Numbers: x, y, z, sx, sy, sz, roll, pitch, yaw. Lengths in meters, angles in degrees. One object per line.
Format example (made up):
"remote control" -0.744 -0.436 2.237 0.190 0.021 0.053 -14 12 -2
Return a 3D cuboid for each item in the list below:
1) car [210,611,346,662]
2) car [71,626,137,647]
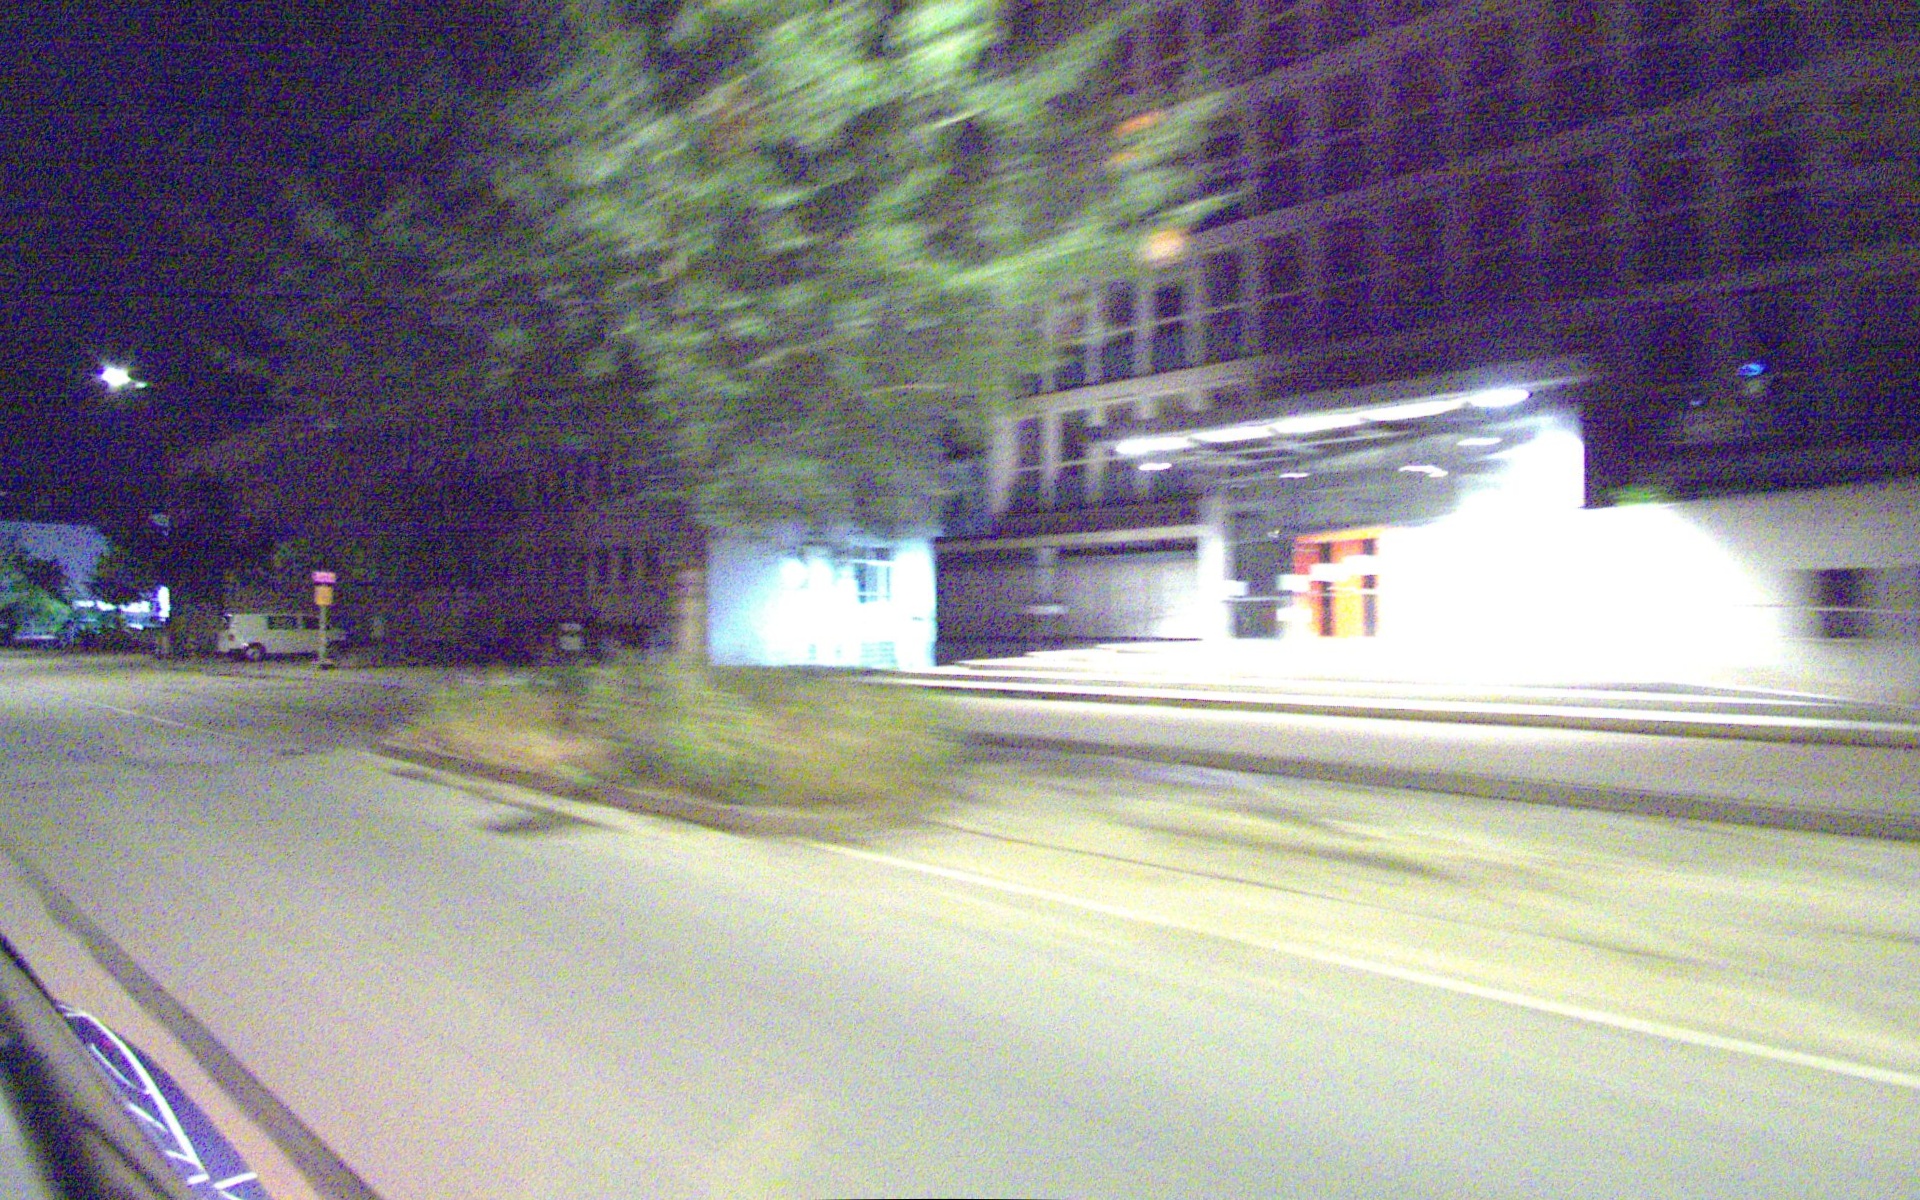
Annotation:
"car" -28.663 1.502 42.608 1.998 1.987 4.387 -2 -2 40
"car" -71.765 3.035 84.891 1.803 1.474 3.950 -2 1 37
